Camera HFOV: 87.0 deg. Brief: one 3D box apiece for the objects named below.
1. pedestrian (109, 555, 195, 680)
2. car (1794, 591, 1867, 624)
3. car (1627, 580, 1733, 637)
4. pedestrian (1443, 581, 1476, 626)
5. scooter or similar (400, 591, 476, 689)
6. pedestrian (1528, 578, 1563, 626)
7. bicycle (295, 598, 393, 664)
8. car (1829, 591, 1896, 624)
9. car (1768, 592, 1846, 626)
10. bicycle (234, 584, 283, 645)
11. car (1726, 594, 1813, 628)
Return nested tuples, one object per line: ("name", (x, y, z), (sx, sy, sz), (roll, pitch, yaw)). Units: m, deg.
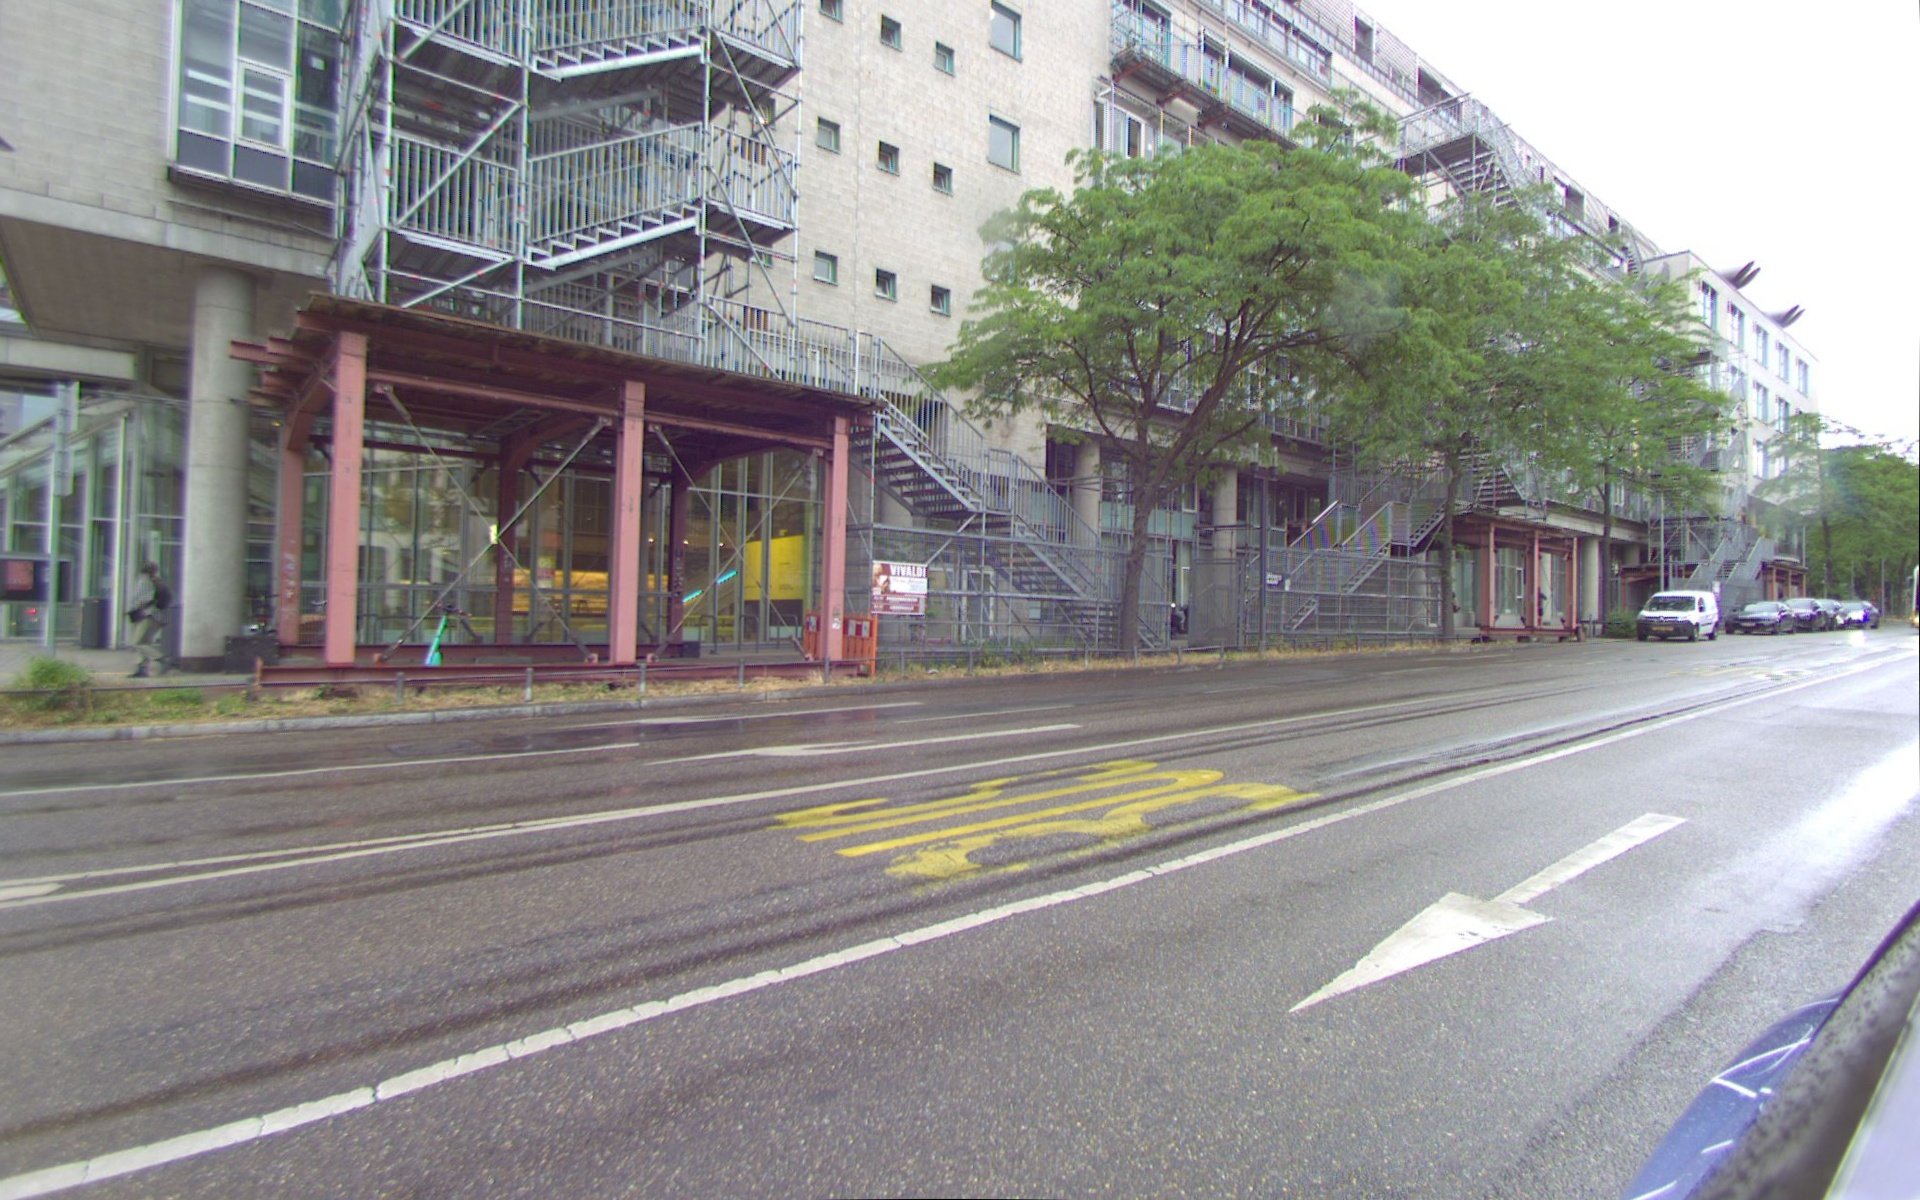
("pedestrian", (-12.075, 0.252, 15.136), (0.774, 1.798, 0.783), (0, 0, 31))
("car", (44.355, 0.368, 51.532), (4.733, 1.580, 2.145), (-1, 1, -41))
("car", (26.063, 0.267, 36.591), (4.254, 1.930, 2.211), (-1, 0, -41))
("pedestrian", (20.672, 0.128, 41.911), (0.832, 1.822, 1.008), (0, 0, -44))
("scooter or similar", (-6.942, 0.489, 13.415), (0.576, 1.209, 1.782), (1, 0, -38))
("pedestrian", (24.958, 0.084, 43.164), (1.021, 2.039, 1.009), (0, 0, -41))
("bicycle", (-11.990, 0.577, 19.739), (0.580, 1.209, 1.602), (0, 0, 24))
("car", (48.928, 0.357, 54.857), (4.733, 1.667, 2.145), (-1, 0, -41))
("car", (40.243, 0.396, 48.070), (4.733, 1.513, 2.145), (-1, 1, -41))
("bicycle", (-14.411, 0.288, 20.781), (0.577, 1.209, 1.611), (0, 0, -44))
("car", (35.088, 0.454, 43.820), (4.733, 1.353, 2.145), (-1, 1, -41))
